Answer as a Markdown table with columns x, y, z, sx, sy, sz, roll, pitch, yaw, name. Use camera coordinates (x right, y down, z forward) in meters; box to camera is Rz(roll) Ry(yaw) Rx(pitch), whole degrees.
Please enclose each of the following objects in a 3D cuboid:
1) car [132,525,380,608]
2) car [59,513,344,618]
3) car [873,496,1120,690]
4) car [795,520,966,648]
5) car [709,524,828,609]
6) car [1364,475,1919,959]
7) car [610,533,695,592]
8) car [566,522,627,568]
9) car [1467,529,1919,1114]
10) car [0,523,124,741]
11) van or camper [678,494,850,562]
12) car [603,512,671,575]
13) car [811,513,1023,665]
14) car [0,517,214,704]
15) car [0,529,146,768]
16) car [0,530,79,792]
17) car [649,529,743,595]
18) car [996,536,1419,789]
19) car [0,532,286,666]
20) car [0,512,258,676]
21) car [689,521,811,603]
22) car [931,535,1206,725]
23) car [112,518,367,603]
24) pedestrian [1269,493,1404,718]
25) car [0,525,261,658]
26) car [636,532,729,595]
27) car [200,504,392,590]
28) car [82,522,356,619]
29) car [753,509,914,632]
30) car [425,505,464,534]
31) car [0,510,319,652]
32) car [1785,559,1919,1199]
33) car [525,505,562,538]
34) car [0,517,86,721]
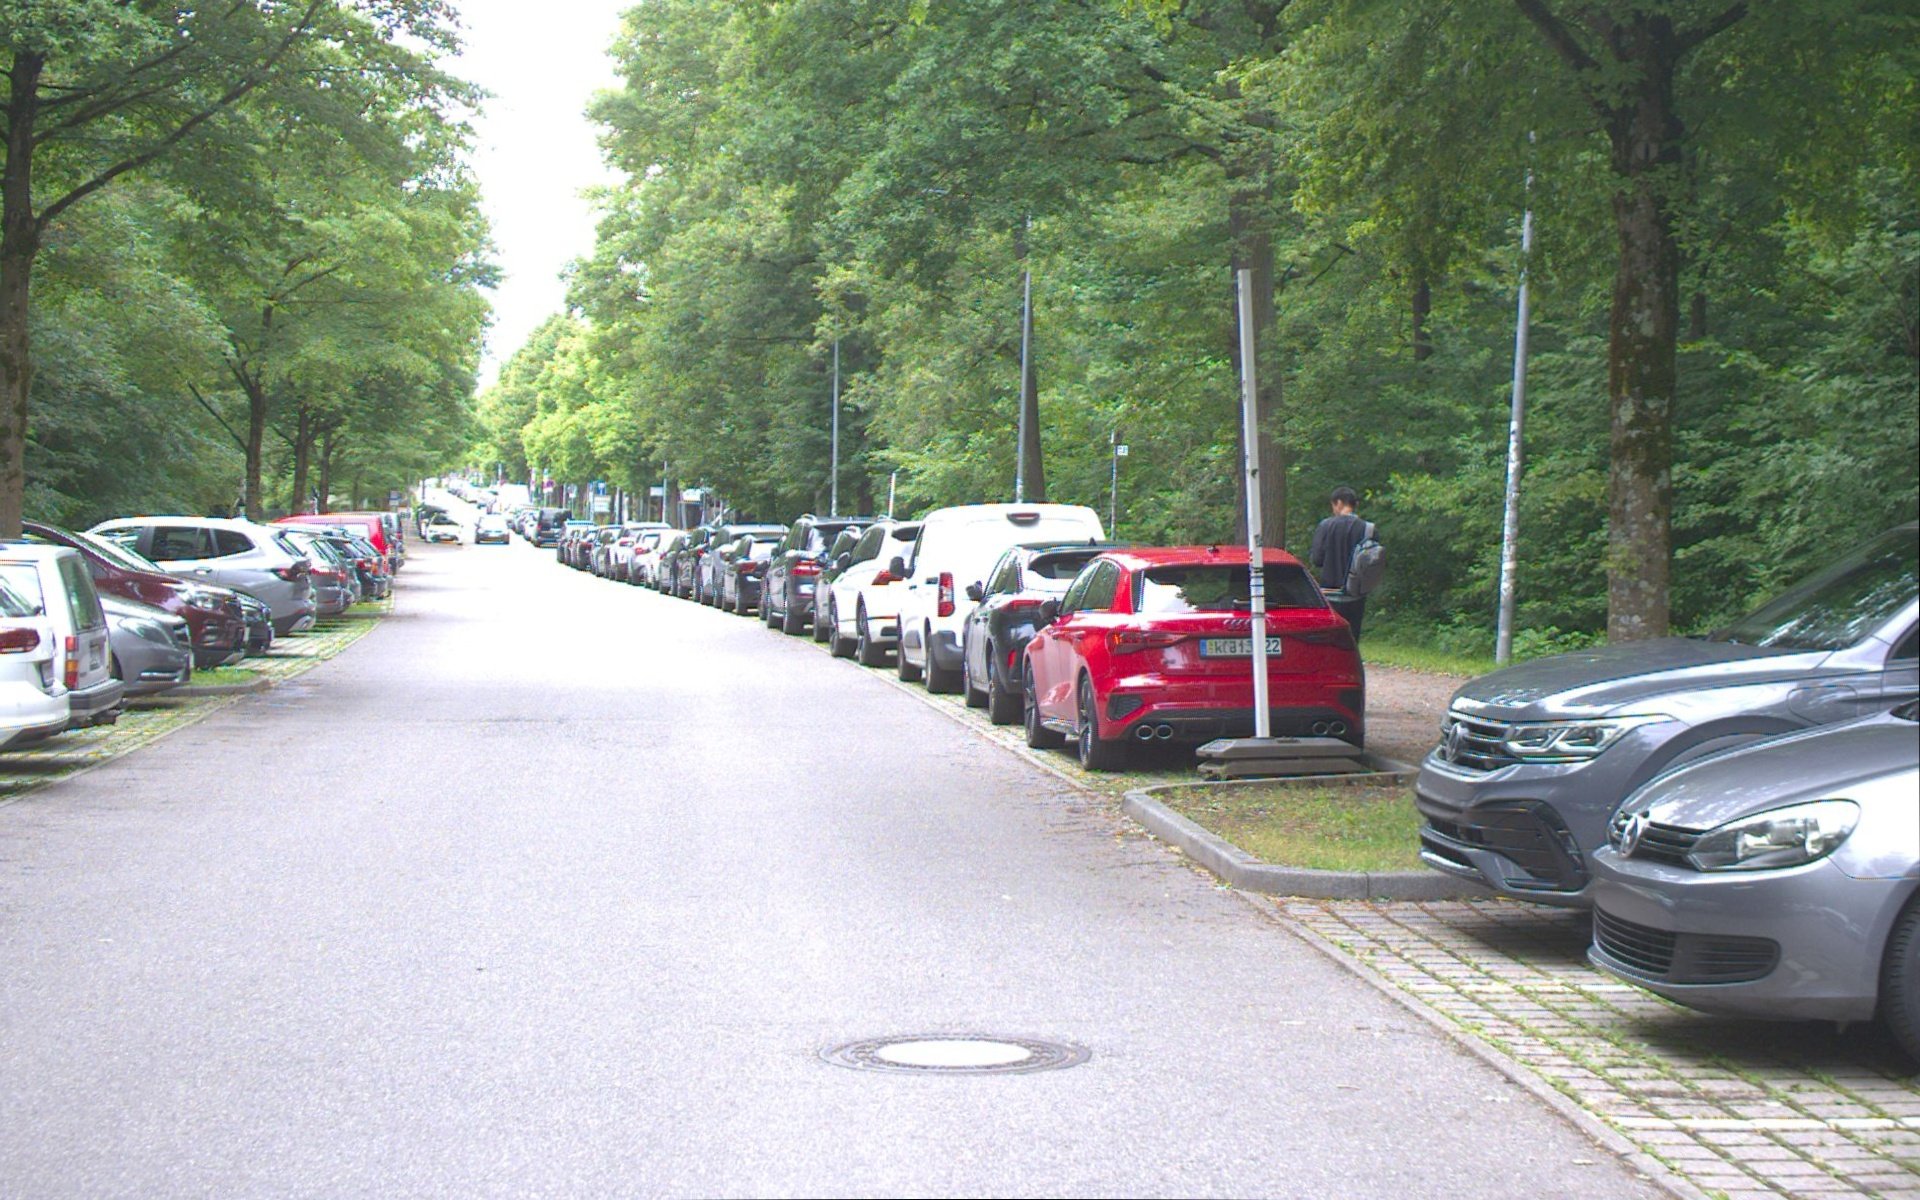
| x | y | z | sx | sy | sz | roll | pitch | yaw | name |
| --- | --- | --- | --- | --- | --- | --- | --- | --- | --- |
| -12.624 | -0.610 | 61.616 | 4.294 | 1.444 | 1.757 | 0 | 1 | -13 | car |
| -11.321 | -0.520 | 51.541 | 4.088 | 1.518 | 1.930 | 0 | 1 | -10 | car |
| 0.283 | -0.116 | 33.982 | 1.744 | 1.774 | 4.553 | 1 | 1 | -8 | car |
| -1.117 | -0.251 | 45.974 | 1.750 | 1.602 | 4.448 | 1 | 1 | -8 | car |
| -3.496 | -0.632 | 62.152 | 1.636 | 1.472 | 4.152 | 0 | 1 | -10 | car |
| 3.825 | 0.402 | 12.973 | 4.265 | 1.660 | 1.958 | 1 | 1 | -3 | car |
| -8.177 | -1.002 | 91.181 | 1.721 | 1.489 | 3.775 | 0 | 1 | -13 | car |
| -12.287 | -1.872 | 116.120 | 1.920 | 1.515 | 3.888 | 1 | 1 | -7 | car |
| 3.763 | 0.588 | 10.392 | 3.986 | 1.546 | 1.976 | 1 | 1 | -9 | car |
| -8.342 | 0.175 | 24.222 | 4.561 | 1.481 | 1.941 | 1 | 1 | -7 | car |
| -8.948 | -3.275 | 157.234 | 7.322 | 2.879 | 2.651 | 0 | 4 | -23 | van or camper |
| -9.112 | -1.601 | 96.825 | 1.710 | 1.722 | 4.001 | 1 | 1 | -8 | car |
| -0.570 | -0.181 | 40.137 | 1.785 | 1.657 | 4.719 | 1 | 1 | -9 | car |
| -8.494 | 0.063 | 29.305 | 4.033 | 1.549 | 1.920 | 0 | 1 | -8 | car |
| -7.682 | 0.278 | 22.067 | 4.561 | 1.481 | 1.870 | 0 | 1 | -5 | car |
| -7.500 | 0.316 | 19.728 | 4.561 | 1.442 | 2.086 | 0 | 1 | -9 | car |
| -6.050 | -0.884 | 78.515 | 1.665 | 1.439 | 3.815 | 1 | 1 | -11 | car |
| 1.514 | 0.333 | 23.093 | 1.993 | 1.474 | 4.973 | 1 | 1 | -6 | car |
| -9.338 | -0.025 | 36.957 | 3.986 | 1.359 | 1.787 | 1 | 1 | -8 | car |
| -9.377 | -0.081 | 34.248 | 4.514 | 1.579 | 1.927 | 0 | 1 | -7 | car |
| -4.188 | -0.782 | 67.965 | 1.977 | 1.532 | 4.623 | 1 | 1 | -9 | car |
| 0.821 | 0.195 | 28.609 | 1.725 | 1.418 | 4.285 | 1 | 1 | -6 | car |
| -13.893 | -0.775 | 66.543 | 4.730 | 1.590 | 1.960 | 0 | 1 | -9 | car |
| 2.947 | 0.034 | 27.004 | 0.817 | 1.720 | 1.004 | 1 | 1 | -6 | pedestrian |
| -10.137 | -0.113 | 39.307 | 4.022 | 1.460 | 1.799 | 1 | 1 | -5 | car |
| -6.921 | -0.923 | 85.424 | 1.936 | 1.470 | 3.993 | 1 | 1 | -10 | car |
| -14.280 | -1.144 | 74.007 | 3.986 | 1.810 | 2.116 | 0 | 1 | -11 | car |
| -11.645 | -0.478 | 54.245 | 4.108 | 1.475 | 1.997 | 0 | 1 | -9 | car |
| -1.959 | -0.484 | 51.639 | 1.889 | 1.741 | 4.950 | 1 | 1 | -8 | car |
| -25.045 | -3.920 | 167.059 | 1.738 | 1.158 | 3.412 | 1 | 4 | -7 | car |
| -9.978 | -0.247 | 41.596 | 4.223 | 1.627 | 2.030 | 1 | 1 | -6 | car |
| 4.120 | 0.680 | 7.764 | 3.986 | 1.470 | 1.953 | 1 | 1 | -2 | car |
| -20.607 | -3.904 | 170.080 | 1.628 | 1.410 | 3.412 | 1 | 4 | -9 | car |
| -9.009 | 0.120 | 26.637 | 4.233 | 1.545 | 1.848 | 0 | 1 | -11 | car |
